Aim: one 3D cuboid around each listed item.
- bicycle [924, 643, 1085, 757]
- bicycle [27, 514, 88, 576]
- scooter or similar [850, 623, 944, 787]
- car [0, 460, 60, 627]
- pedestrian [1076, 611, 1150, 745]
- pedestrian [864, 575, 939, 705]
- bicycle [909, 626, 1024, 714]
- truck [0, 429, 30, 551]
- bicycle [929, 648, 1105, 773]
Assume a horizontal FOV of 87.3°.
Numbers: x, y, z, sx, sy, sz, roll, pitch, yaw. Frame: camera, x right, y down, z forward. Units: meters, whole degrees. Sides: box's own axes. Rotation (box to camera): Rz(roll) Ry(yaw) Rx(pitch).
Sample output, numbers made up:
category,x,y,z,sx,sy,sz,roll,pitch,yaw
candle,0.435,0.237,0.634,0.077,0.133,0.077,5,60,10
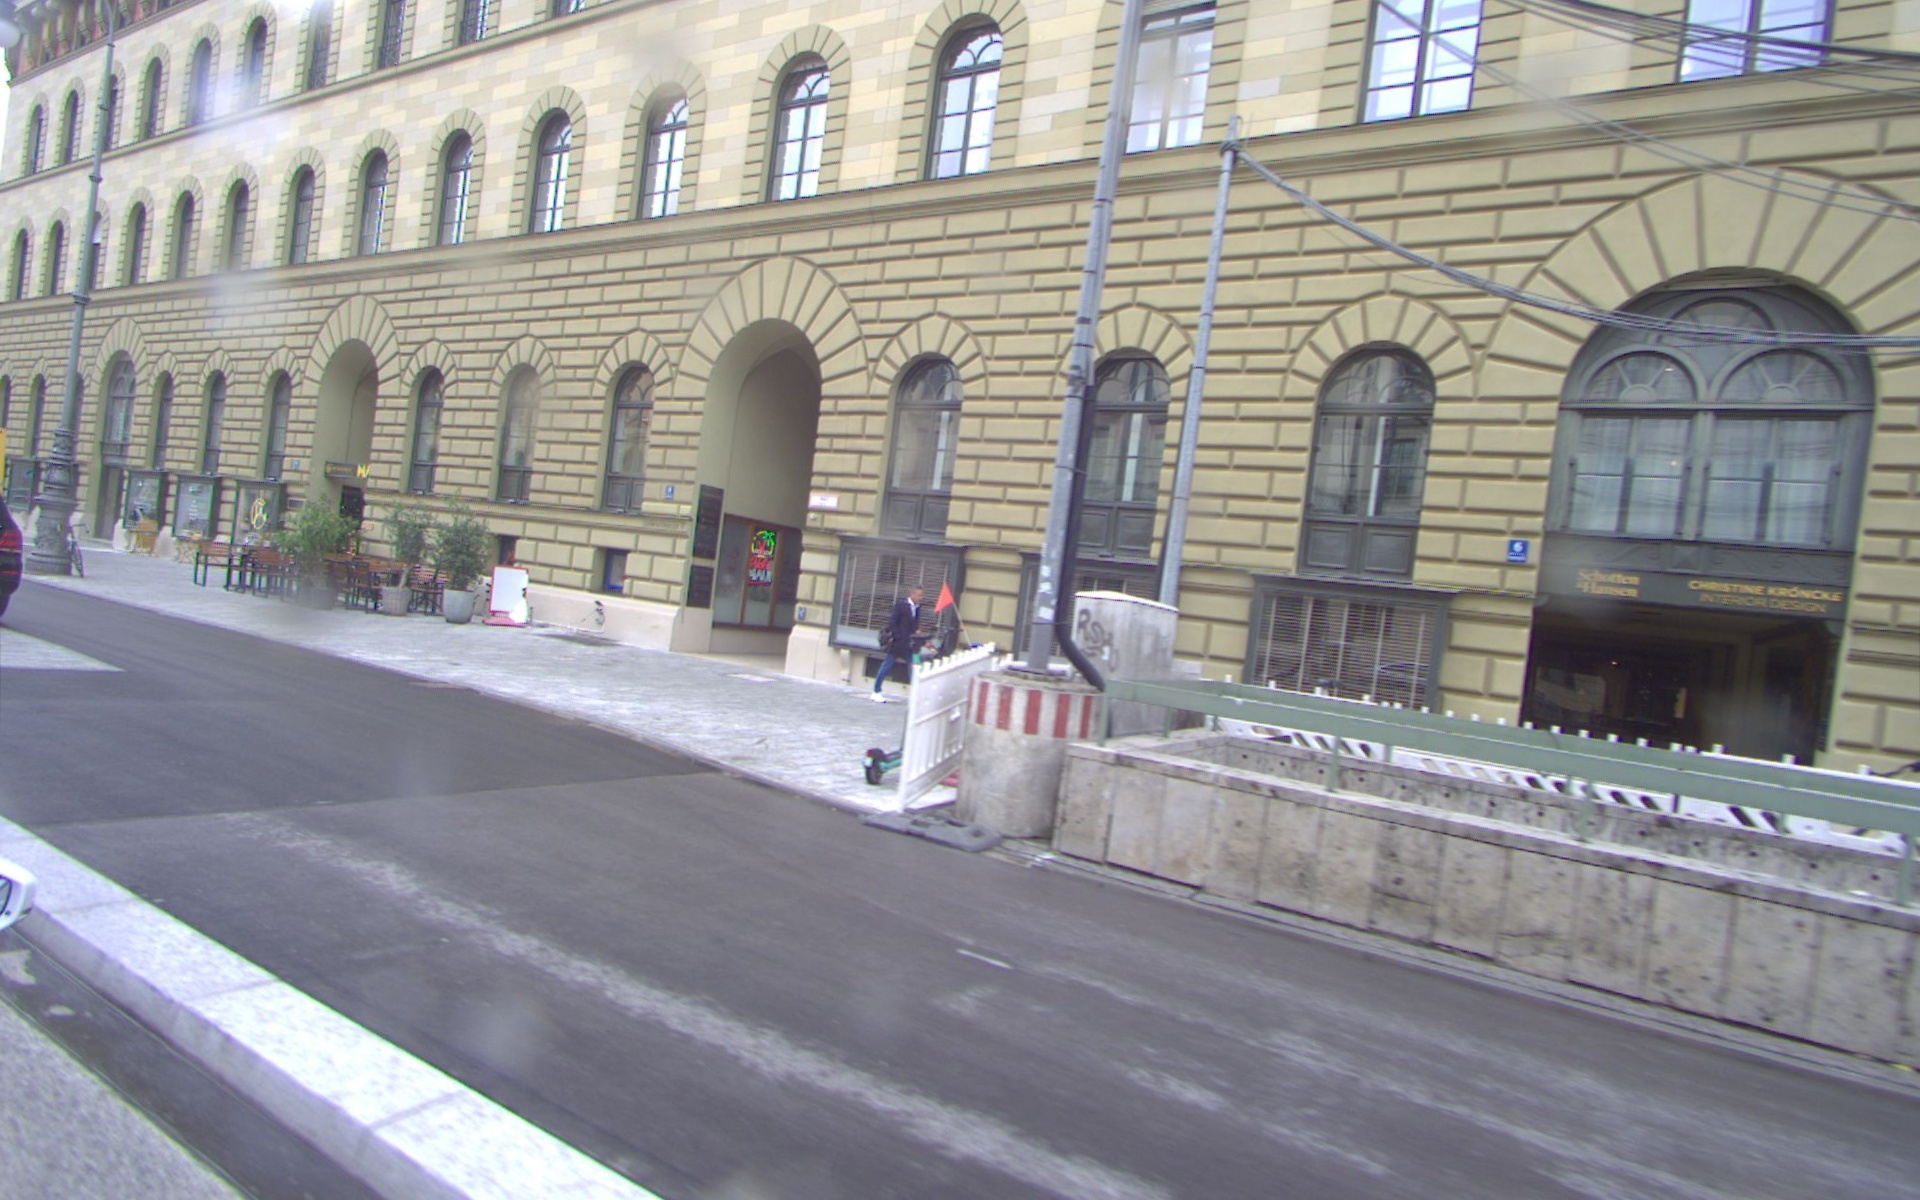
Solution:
category,x,y,z,sx,sy,sz,roll,pitch,yaw
bicycle,0.494,1.074,10.996,1.619,1.034,0.520,6,0,5
bicycle,-16.926,-1.042,18.860,1.626,1.034,0.518,6,0,38
scooter or similar,-0.510,0.841,8.490,0.292,1.266,1.140,6,1,18
car,-11.939,-0.851,10.753,4.150,1.681,2.074,7,-1,29
pedestrian,1.901,0.960,12.467,0.620,1.573,0.499,6,0,29
pedestrian,-0.815,0.561,14.042,0.667,1.733,0.557,6,0,38
bicycle,0.075,1.000,14.580,1.624,1.035,0.377,7,1,34
truck,-25.249,-2.879,24.424,5.716,2.798,2.623,6,-1,35
bicycle,0.576,1.087,10.101,1.619,1.034,0.520,6,0,5
